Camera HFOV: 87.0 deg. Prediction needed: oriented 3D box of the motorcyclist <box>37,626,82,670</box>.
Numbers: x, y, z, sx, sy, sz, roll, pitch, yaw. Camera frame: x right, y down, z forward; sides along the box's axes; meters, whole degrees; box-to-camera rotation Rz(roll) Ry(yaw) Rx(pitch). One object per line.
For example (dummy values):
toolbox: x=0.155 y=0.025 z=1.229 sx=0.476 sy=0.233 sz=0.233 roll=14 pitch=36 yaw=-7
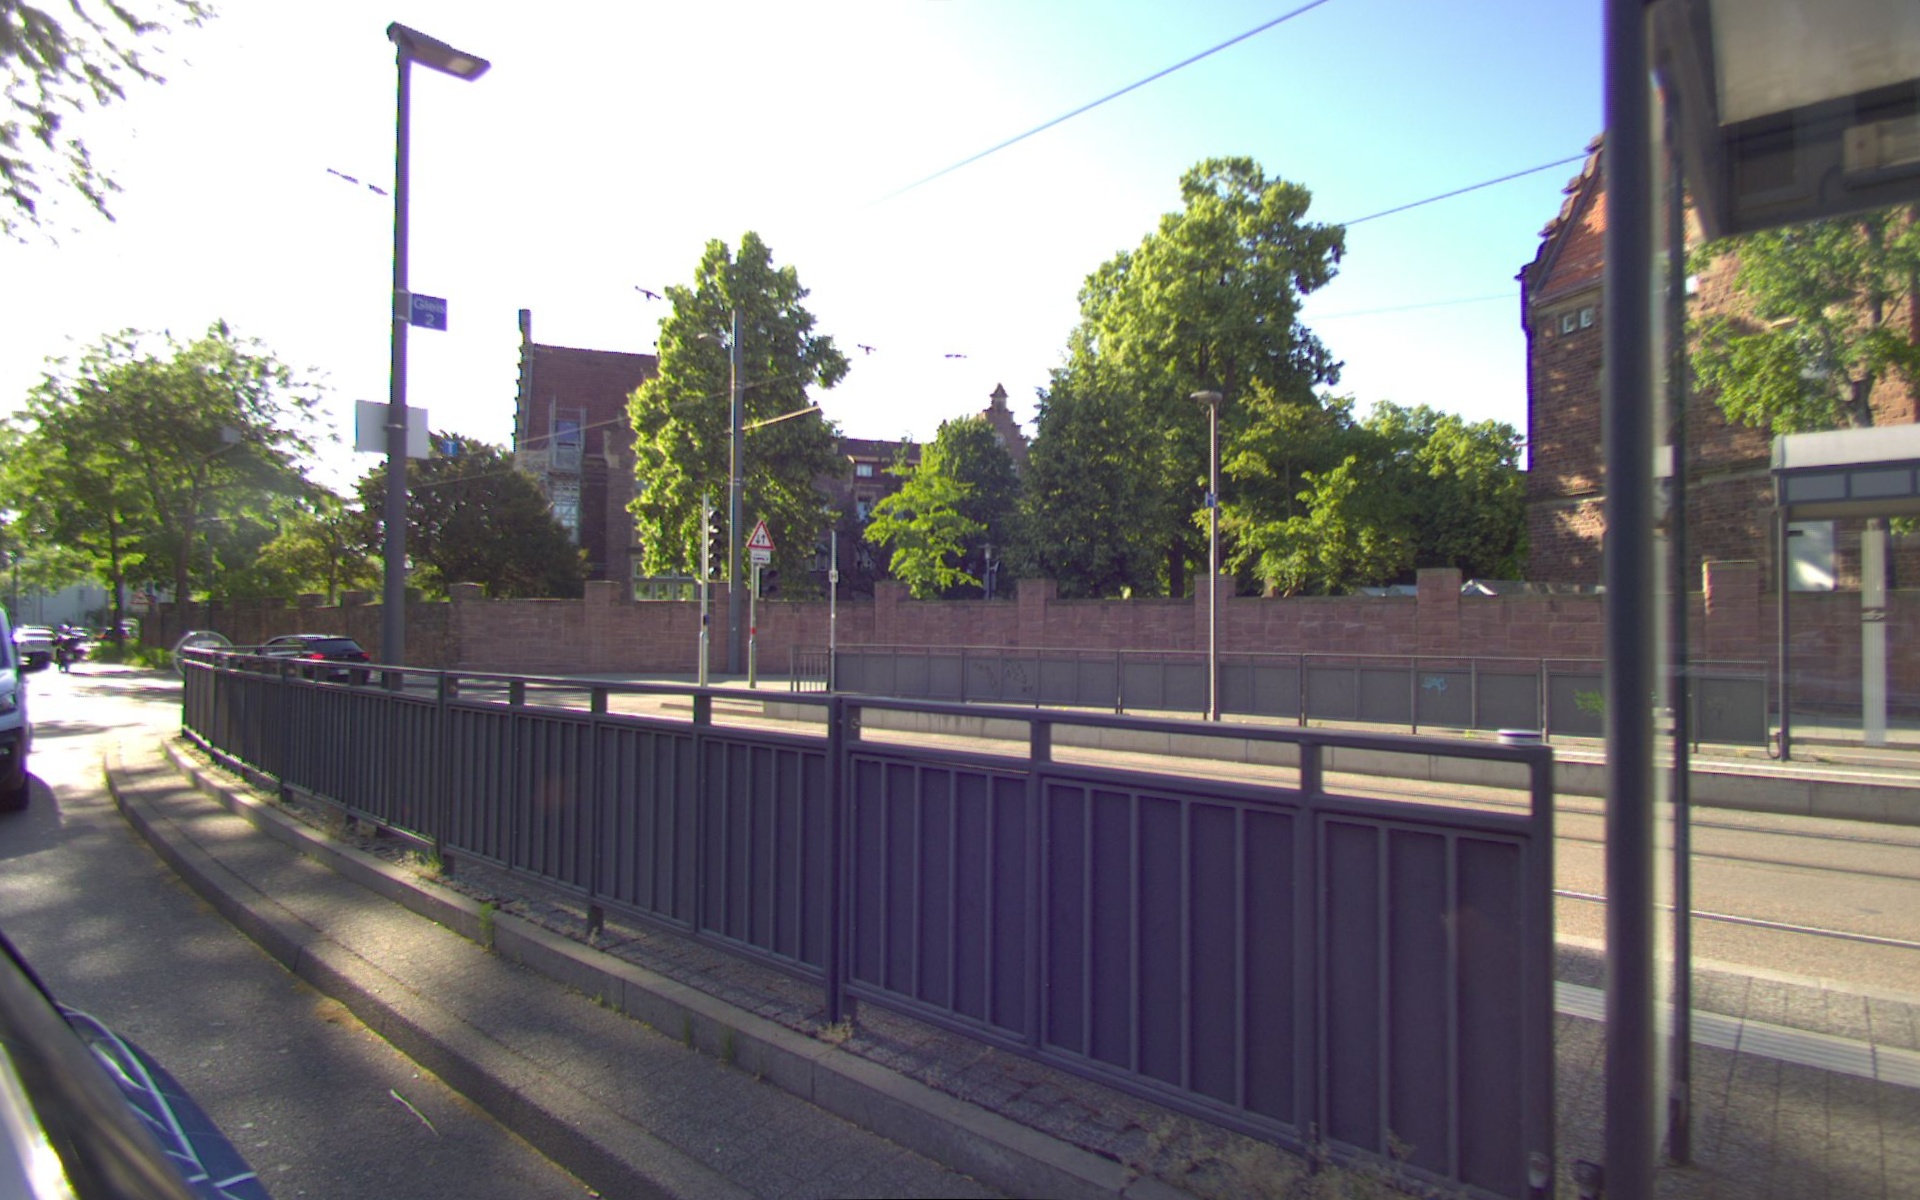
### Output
motorcyclist: x=-32.165 y=1.686 z=36.150 sx=1.055 sy=1.536 sz=1.112 roll=-1 pitch=-2 yaw=44

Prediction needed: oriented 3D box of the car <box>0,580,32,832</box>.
car: x=-8.944 y=0.799 z=8.347 sx=1.805 sy=1.812 sz=4.340 roll=-1 pitch=0 yaw=-42

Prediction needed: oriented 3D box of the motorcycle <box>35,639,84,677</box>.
motorcycle: x=-32.247 y=2.061 z=36.222 sx=2.574 sy=1.253 sz=1.117 roll=-1 pitch=-2 yaw=44

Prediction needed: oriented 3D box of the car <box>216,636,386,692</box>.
car: x=-17.608 y=1.710 z=27.079 sx=3.954 sy=1.414 sz=1.848 roll=-2 pitch=-3 yaw=21
